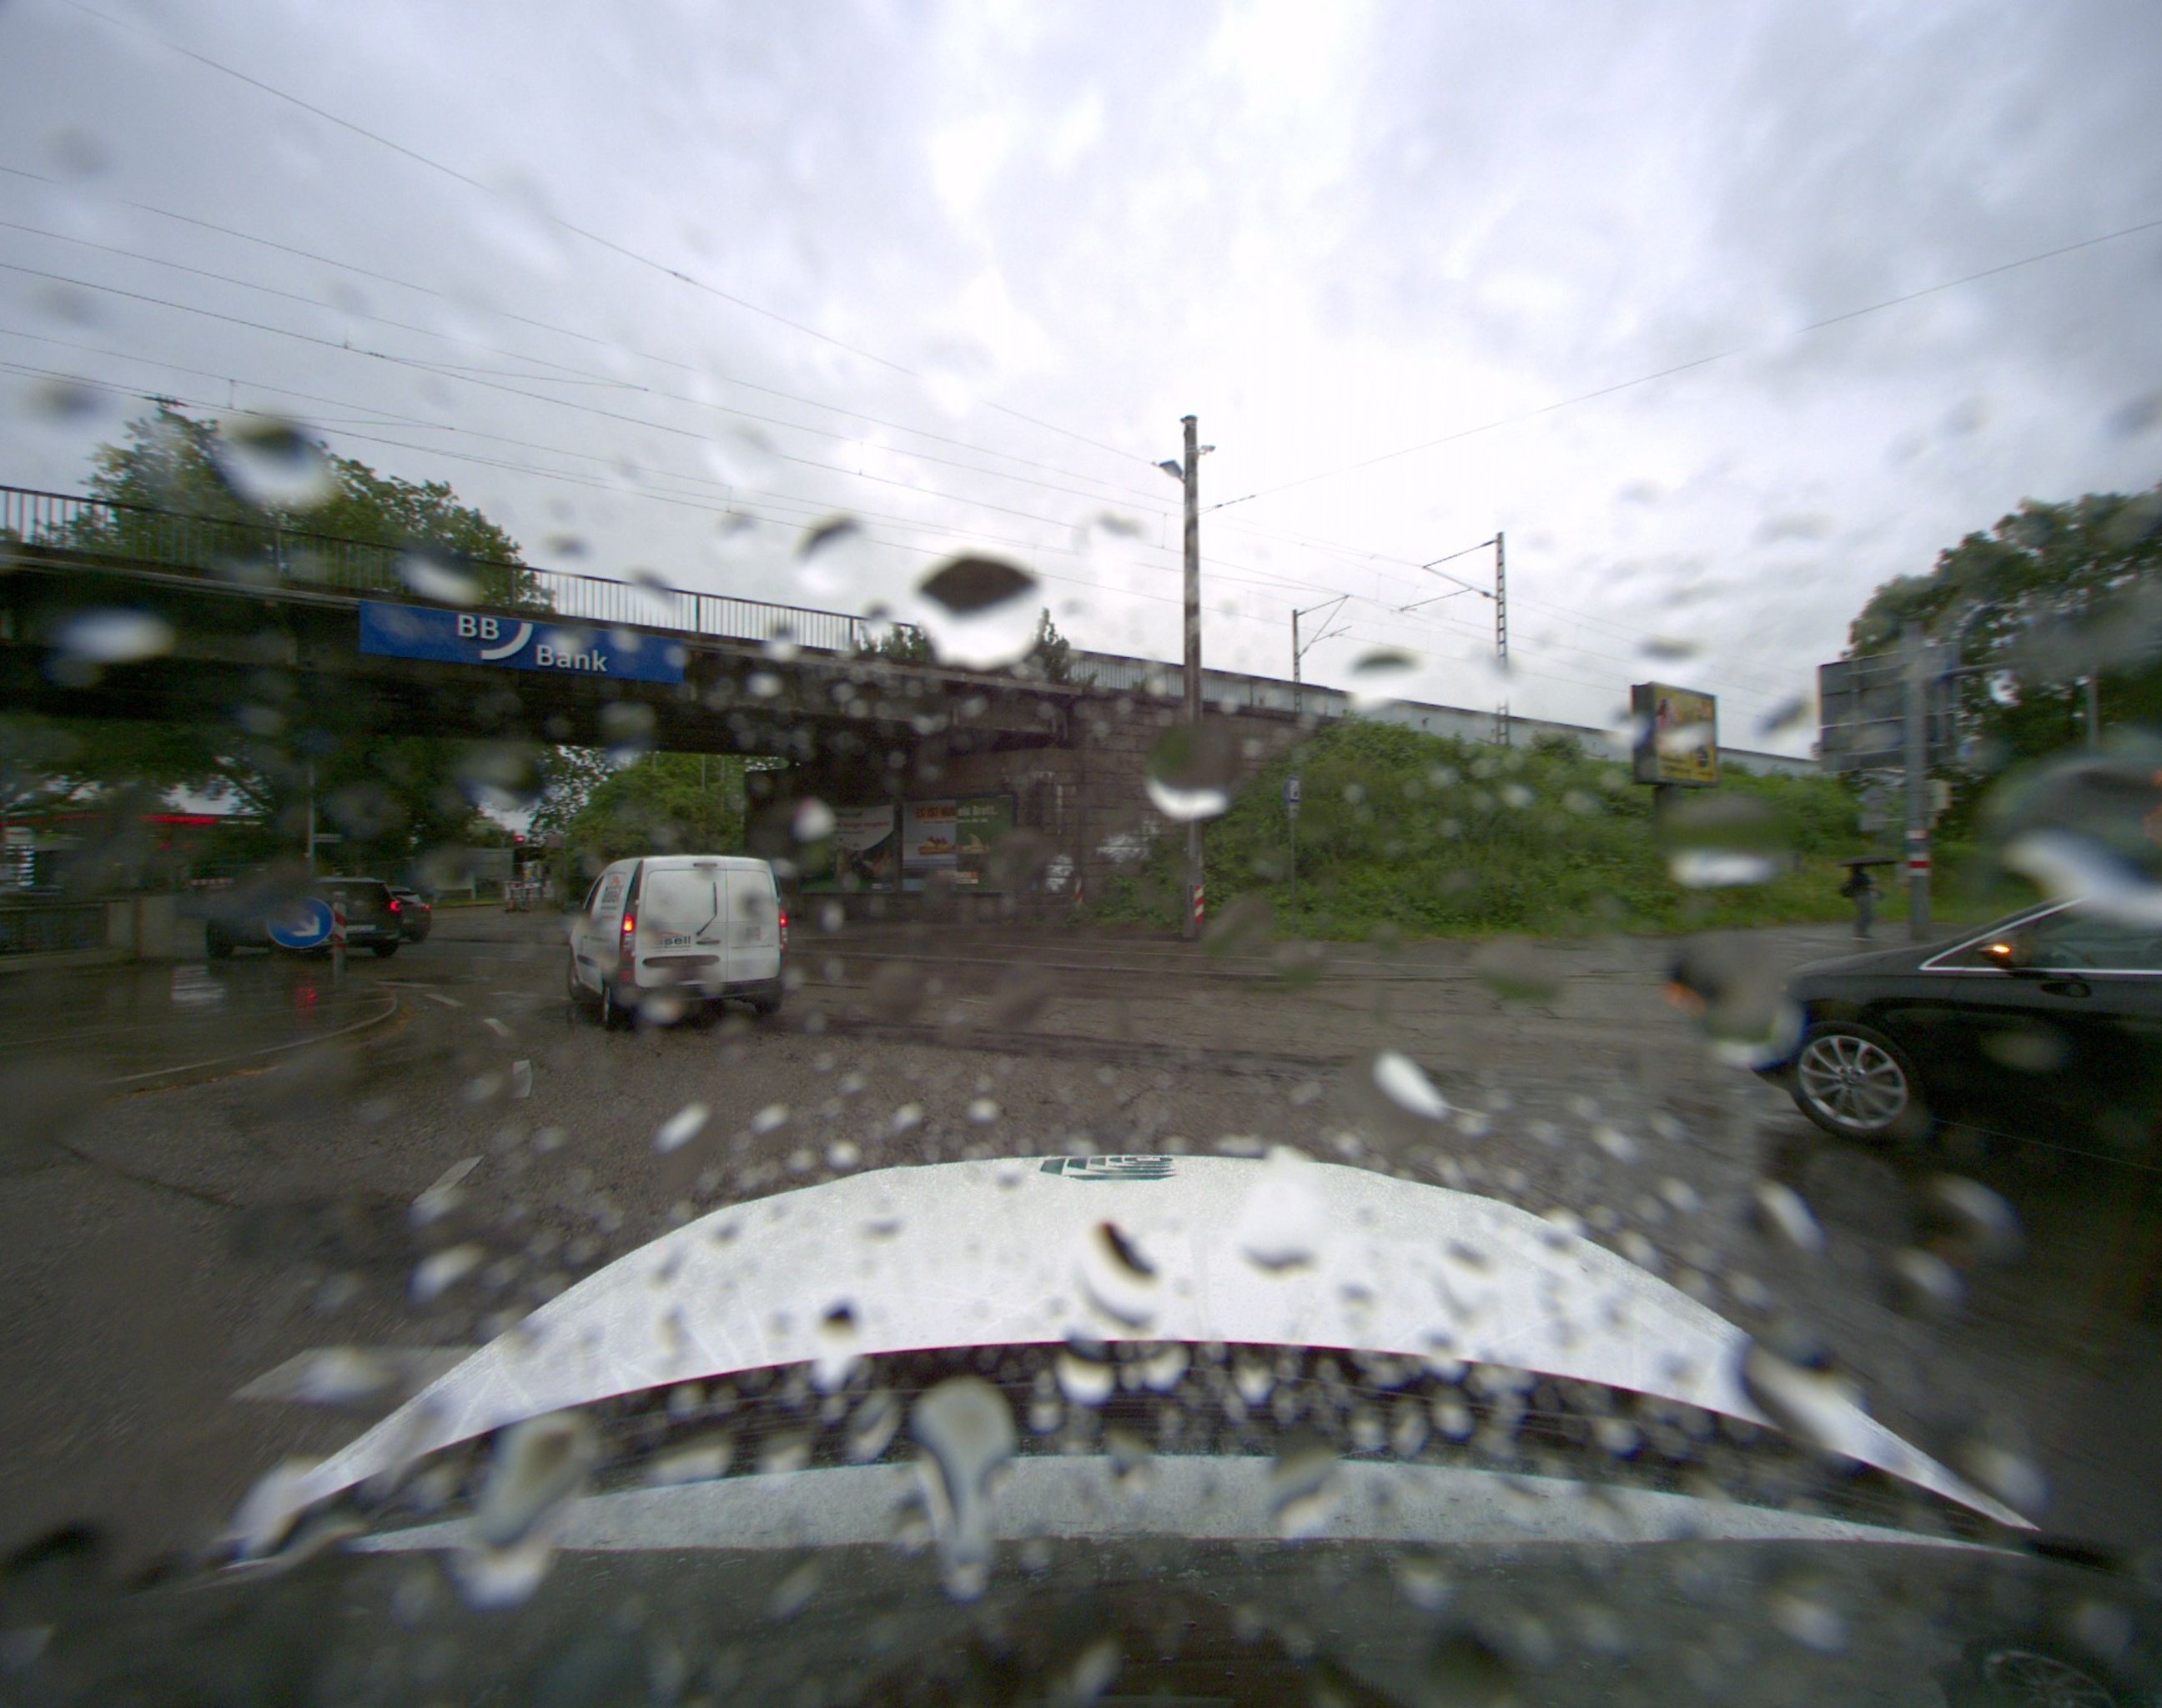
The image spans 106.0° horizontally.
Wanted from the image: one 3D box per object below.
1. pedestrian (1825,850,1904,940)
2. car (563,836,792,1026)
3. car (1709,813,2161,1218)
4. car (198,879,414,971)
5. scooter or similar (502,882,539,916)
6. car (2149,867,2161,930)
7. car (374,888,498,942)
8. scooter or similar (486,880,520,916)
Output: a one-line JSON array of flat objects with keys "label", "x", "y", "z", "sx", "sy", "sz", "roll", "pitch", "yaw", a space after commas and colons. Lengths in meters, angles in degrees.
[{"label": "pedestrian", "x": 15.521, "y": 0.787, "z": 16.136, "sx": 0.824, "sy": 1.719, "sz": 0.993, "roll": 0, "pitch": -1, "yaw": -38}, {"label": "car", "x": -5.027, "y": 0.788, "z": 9.835, "sx": 1.770, "sy": 1.777, "sz": 3.955, "roll": -2, "pitch": -1, "yaw": -37}, {"label": "car", "x": 4.997, "y": 0.595, "z": 3.109, "sx": 1.867, "sy": 1.523, "sz": 4.081, "roll": -1, "pitch": -1, "yaw": -4}, {"label": "car", "x": -15.647, "y": 1.343, "z": 16.434, "sx": 3.950, "sy": 1.609, "sz": 1.935, "roll": -1, "pitch": -1, "yaw": 27}, {"label": "scooter or similar", "x": -21.422, "y": 1.711, "z": 31.125, "sx": 1.528, "sy": 1.178, "sz": 0.778, "roll": -1, "pitch": 2, "yaw": 42}, {"label": "car", "x": 26.125, "y": 0.964, "z": 18.532, "sx": 4.015, "sy": 1.349, "sz": 1.879, "roll": -1, "pitch": -1, "yaw": -33}, {"label": "car", "x": -17.313, "y": 1.587, "z": 21.826, "sx": 3.215, "sy": 1.283, "sz": 1.697, "roll": -1, "pitch": -1, "yaw": 34}, {"label": "scooter or similar", "x": -22.769, "y": 1.729, "z": 32.102, "sx": 0.712, "sy": 1.310, "sz": 1.545, "roll": -5, "pitch": 1, "yaw": -25}]
